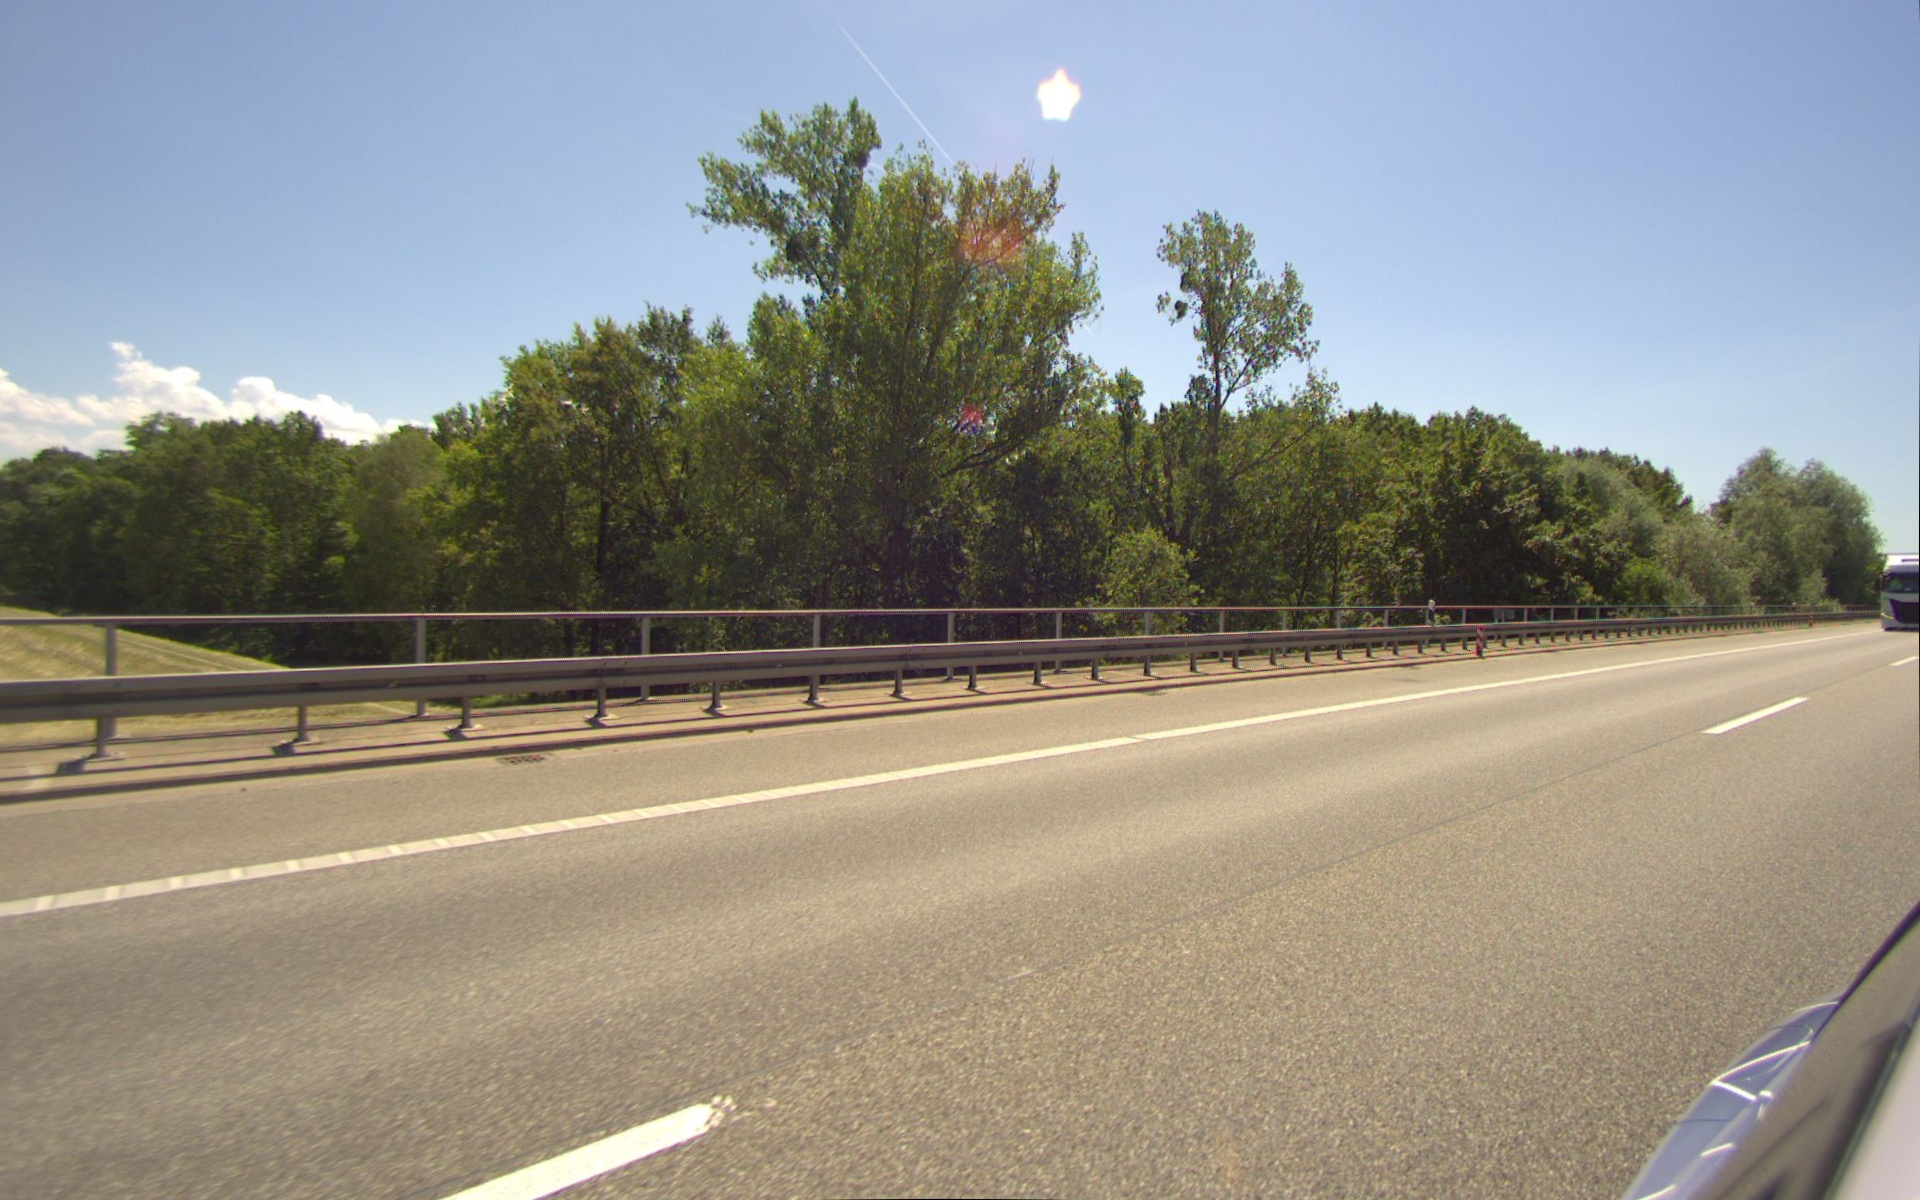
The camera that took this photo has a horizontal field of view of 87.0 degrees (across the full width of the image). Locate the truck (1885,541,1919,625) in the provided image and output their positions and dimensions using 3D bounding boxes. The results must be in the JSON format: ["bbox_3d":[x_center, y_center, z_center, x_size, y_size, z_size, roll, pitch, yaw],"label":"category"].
[{"bbox_3d":[51.735,-0.841,53.813,10.269,4.216,2.817,0,0,-42],"label":"truck"}]
